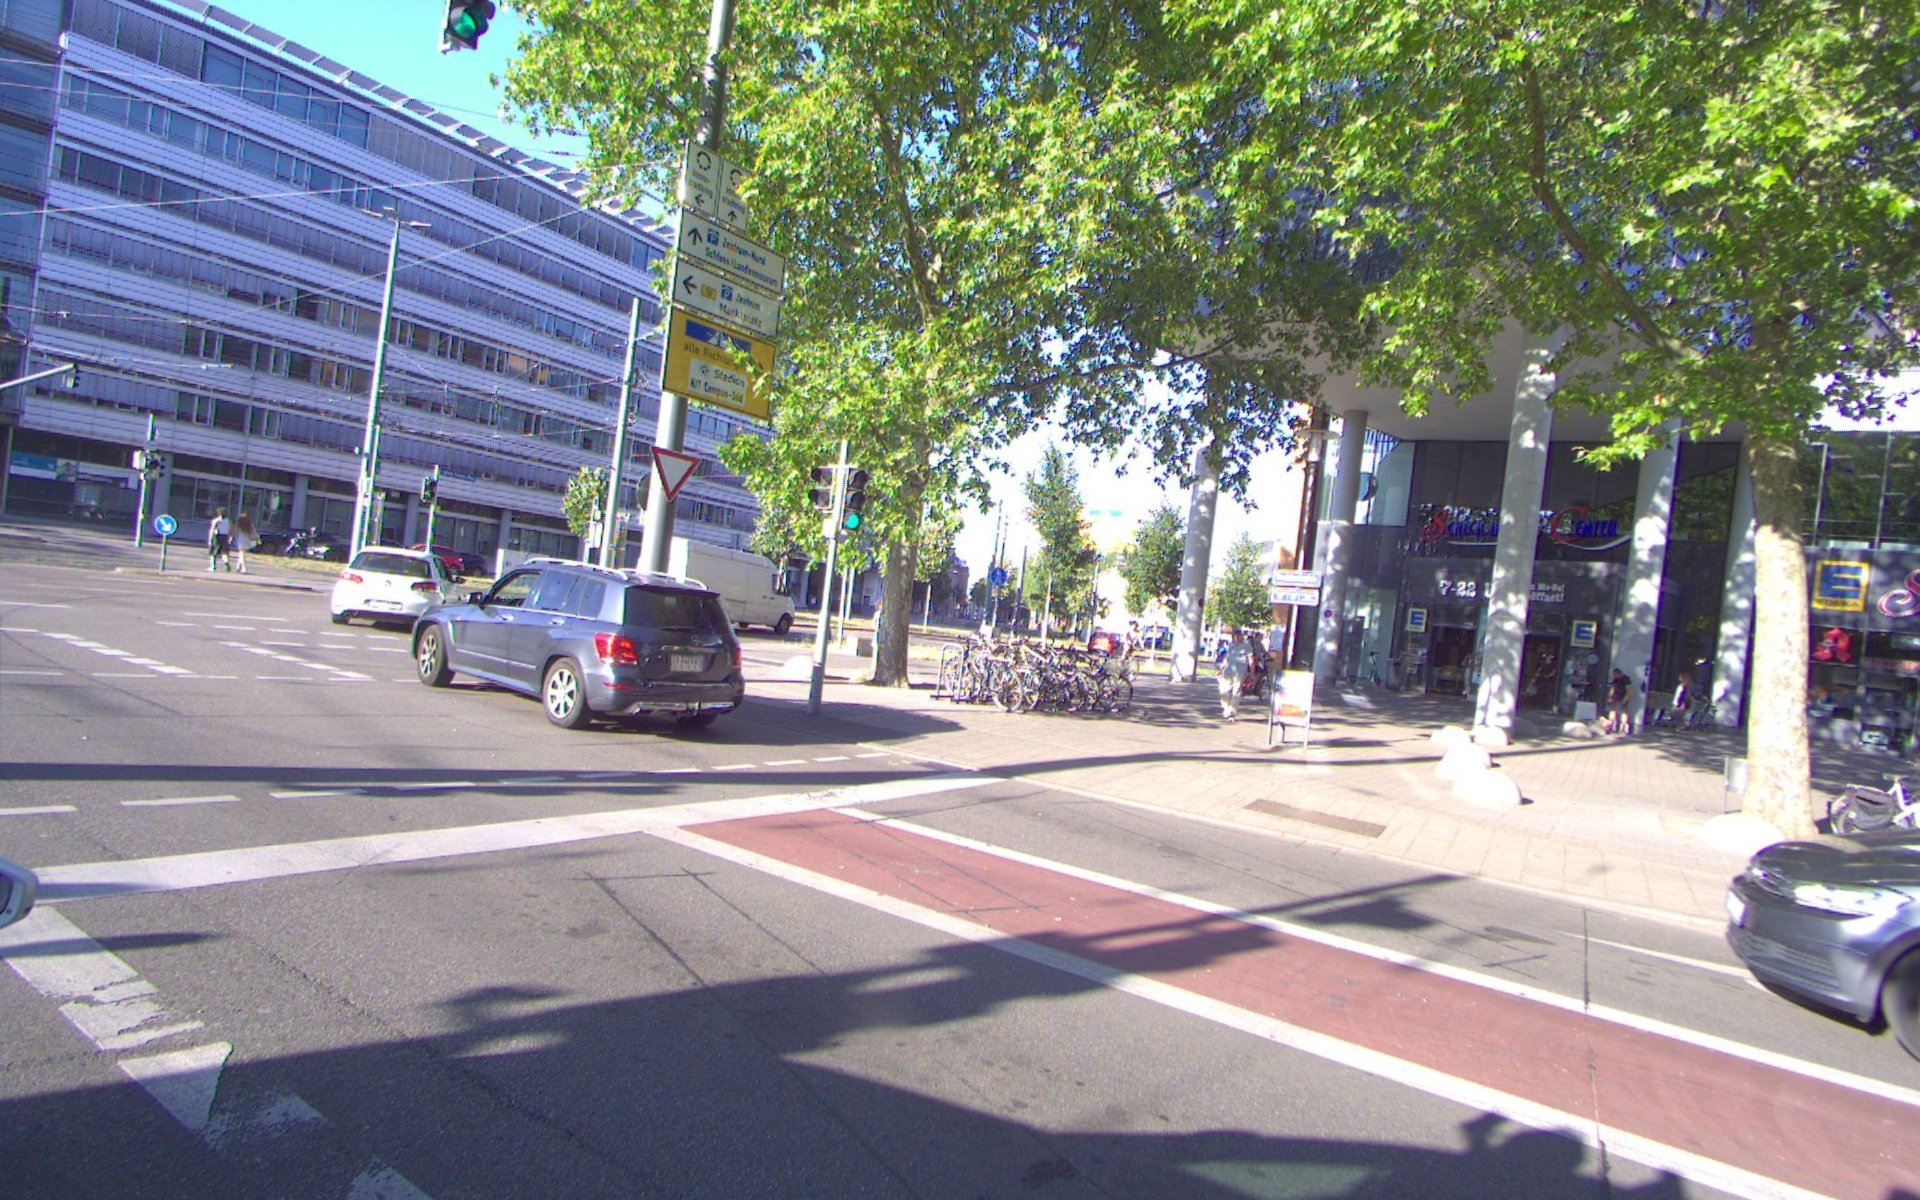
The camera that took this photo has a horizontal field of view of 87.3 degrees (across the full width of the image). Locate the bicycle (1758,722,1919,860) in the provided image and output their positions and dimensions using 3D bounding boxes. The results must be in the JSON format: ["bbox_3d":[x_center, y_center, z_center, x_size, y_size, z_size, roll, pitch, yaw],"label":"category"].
[{"bbox_3d":[11.281,2.363,11.061,3.757,1.235,0.727,10,1,38],"label":"bicycle"}]

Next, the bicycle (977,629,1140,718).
[{"bbox_3d":[1.824,1.371,18.986,2.896,1.250,0.698,6,-4,31],"label":"bicycle"}]

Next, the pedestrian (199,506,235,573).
[{"bbox_3d":[-20.950,-1.714,28.376,0.673,1.781,0.734,6,1,-36],"label":"pedestrian"}]

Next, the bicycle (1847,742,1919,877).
[{"bbox_3d":[10.189,2.156,9.541,2.514,1.234,0.756,5,-2,38],"label":"bicycle"}]

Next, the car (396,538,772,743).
[{"bbox_3d":[-4.271,0.382,11.173,4.184,1.655,1.765,7,-1,36],"label":"car"}]

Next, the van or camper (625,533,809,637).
[{"bbox_3d":[-7.518,-0.349,32.048,1.970,2.646,6.496,7,0,23],"label":"van or camper"}]

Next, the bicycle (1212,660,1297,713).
[{"bbox_3d":[7.495,2.193,25.734,0.595,1.028,2.177,4,2,-31],"label":"bicycle"}]

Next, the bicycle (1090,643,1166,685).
[{"bbox_3d":[4.903,1.861,29.453,2.072,0.965,0.744,6,1,42],"label":"bicycle"}]

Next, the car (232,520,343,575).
[{"bbox_3d":[-33.684,-2.611,50.492,1.967,2.037,3.995,6,-2,32],"label":"car"}]

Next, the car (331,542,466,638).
[{"bbox_3d":[-10.584,-0.201,19.220,1.619,1.445,3.967,8,-1,-22],"label":"car"}]

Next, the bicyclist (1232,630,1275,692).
[{"bbox_3d":[7.513,1.558,25.772,0.586,1.504,0.745,4,2,-31],"label":"bicyclist"}]

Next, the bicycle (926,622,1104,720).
[{"bbox_3d":[0.889,1.175,16.974,2.896,1.252,0.705,6,-1,32],"label":"bicycle"}]

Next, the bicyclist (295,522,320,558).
[{"bbox_3d":[-30.074,-2.760,46.371,0.604,1.521,0.663,7,1,37],"label":"bicyclist"}]

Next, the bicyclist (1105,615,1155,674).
[{"bbox_3d":[4.974,1.296,29.438,1.016,1.585,0.804,6,-1,42],"label":"bicyclist"}]

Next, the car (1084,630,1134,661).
[{"bbox_3d":[8.865,2.699,59.503,1.471,1.476,3.591,7,-2,32],"label":"car"}]

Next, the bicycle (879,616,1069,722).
[{"bbox_3d":[0.179,1.053,15.720,2.896,1.252,0.705,6,-1,31],"label":"bicycle"}]

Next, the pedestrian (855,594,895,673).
[{"bbox_3d":[-1.831,0.723,21.743,0.523,1.644,0.543,7,1,19],"label":"pedestrian"}]

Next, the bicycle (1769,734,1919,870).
[{"bbox_3d":[10.799,2.275,10.334,3.759,1.234,0.756,5,-2,38],"label":"bicycle"}]

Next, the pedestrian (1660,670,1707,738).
[{"bbox_3d":[20.167,2.892,28.040,0.826,1.765,0.642,7,1,44],"label":"pedestrian"}]

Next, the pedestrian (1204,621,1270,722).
[{"bbox_3d":[5.636,1.445,20.505,0.800,1.913,0.871,5,1,-16],"label":"pedestrian"}]

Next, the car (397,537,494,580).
[{"bbox_3d":[-26.465,-2.112,51.842,1.769,1.569,3.990,6,-2,36],"label":"car"}]

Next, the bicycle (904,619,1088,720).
[{"bbox_3d":[0.539,1.105,16.342,2.896,1.243,0.686,6,-1,31],"label":"bicycle"}]

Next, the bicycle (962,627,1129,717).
[{"bbox_3d":[1.527,1.285,18.311,2.896,1.252,0.705,6,-1,31],"label":"bicycle"}]

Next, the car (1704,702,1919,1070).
[{"bbox_3d":[6.364,1.637,4.711,4.317,1.655,1.709,7,-1,31],"label":"car"}]

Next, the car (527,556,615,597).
[{"bbox_3d":[-21.108,-1.238,54.690,1.852,1.614,3.991,6,-2,35],"label":"car"}]

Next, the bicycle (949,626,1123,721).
[{"bbox_3d":[1.293,1.269,17.624,2.896,1.251,0.705,6,-3,31],"label":"bicycle"}]

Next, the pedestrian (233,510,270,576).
[{"bbox_3d":[-20.401,-1.642,28.986,0.678,1.781,0.736,6,1,-31],"label":"pedestrian"}]

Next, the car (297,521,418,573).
[{"bbox_3d":[-27.431,-2.388,45.946,1.854,1.744,4.256,7,0,34],"label":"car"}]

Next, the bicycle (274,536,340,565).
[{"bbox_3d":[-30.104,-2.283,46.419,0.627,1.035,2.410,7,0,36],"label":"bicycle"}]
